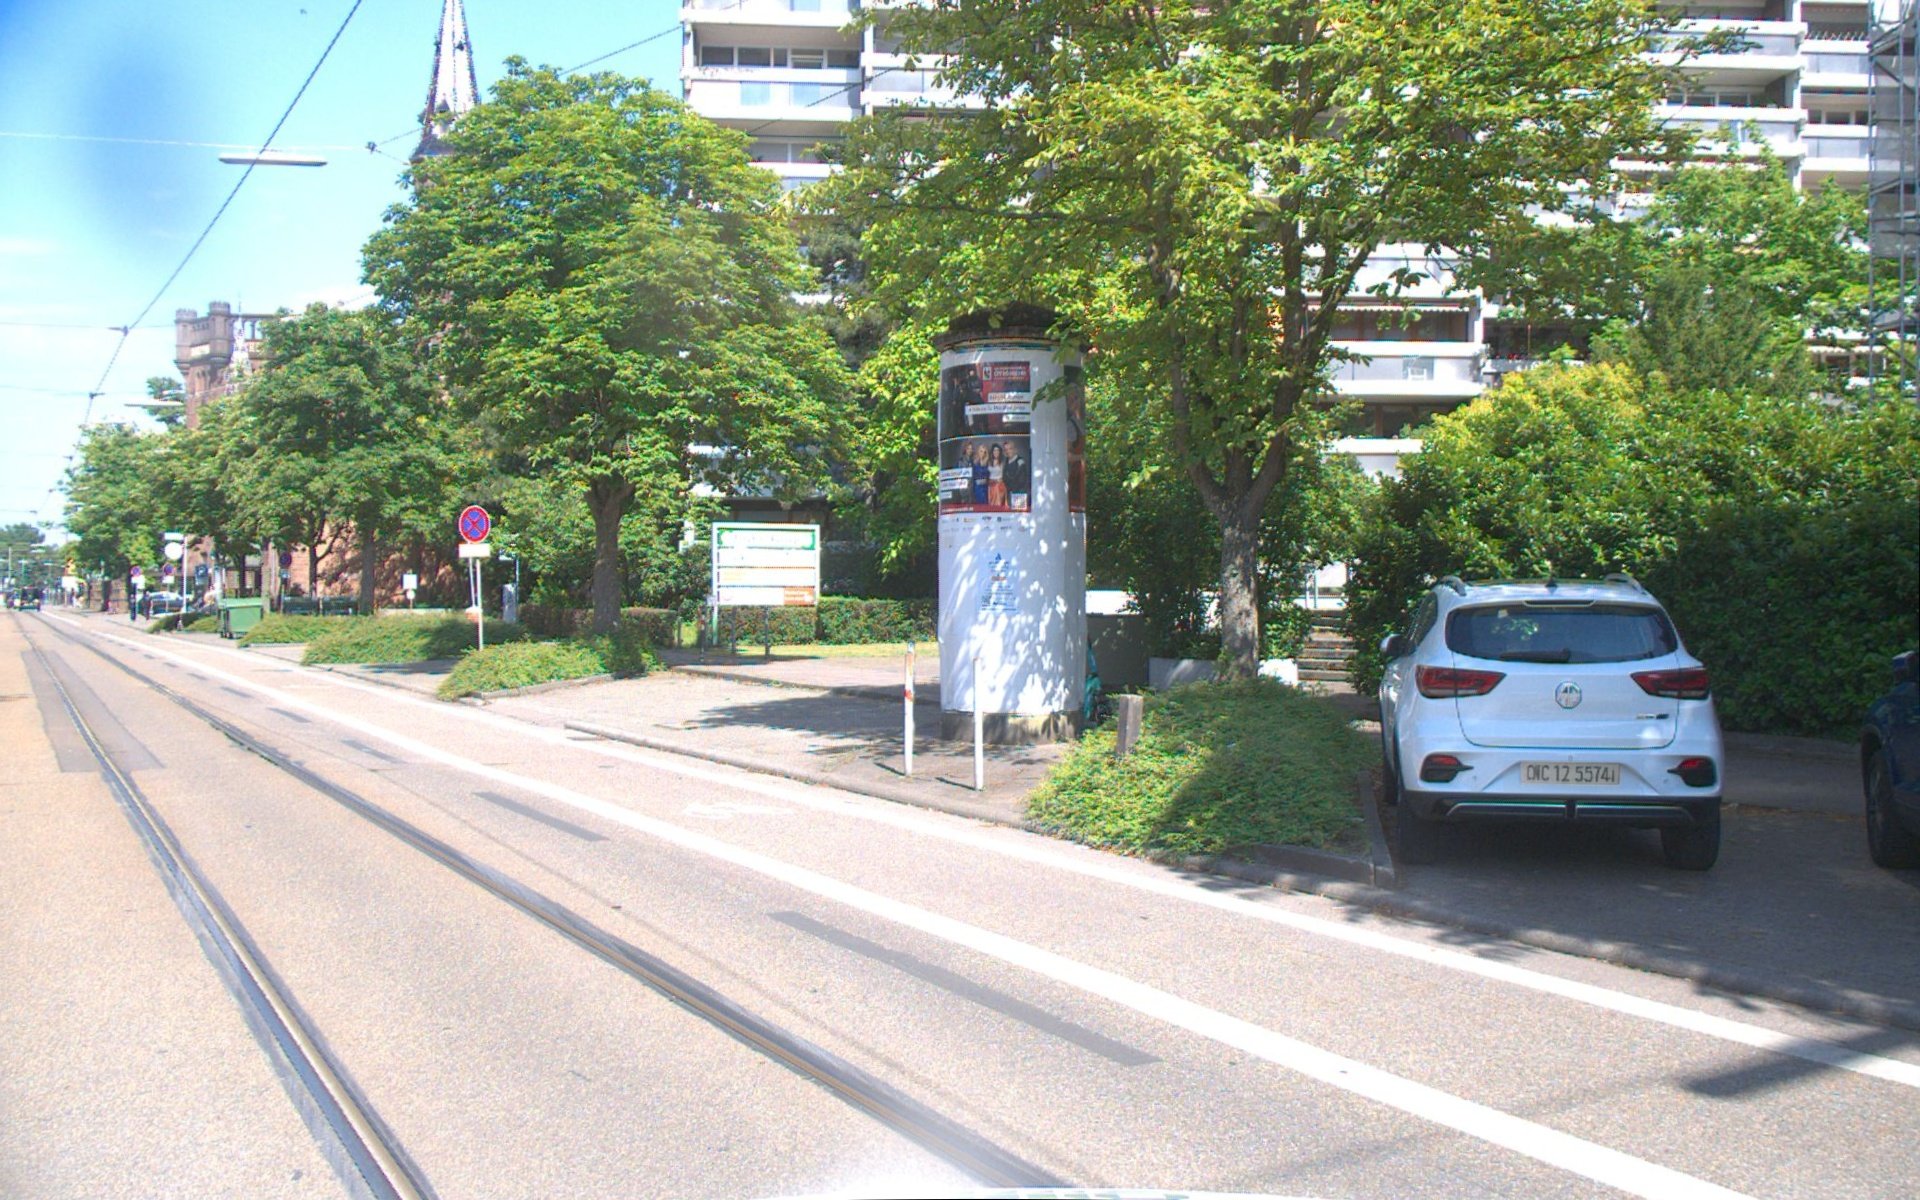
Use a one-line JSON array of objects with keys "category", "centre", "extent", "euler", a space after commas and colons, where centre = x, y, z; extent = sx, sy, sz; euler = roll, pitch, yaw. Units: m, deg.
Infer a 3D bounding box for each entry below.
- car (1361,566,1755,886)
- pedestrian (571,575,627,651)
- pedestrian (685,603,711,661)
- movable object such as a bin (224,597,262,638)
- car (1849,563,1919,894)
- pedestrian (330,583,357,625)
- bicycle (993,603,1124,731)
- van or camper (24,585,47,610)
[{"category": "car", "centre": [3.571, 0.675, 10.577], "extent": [1.775, 1.634, 3.948], "euler": [-2, 0, 12]}, {"category": "pedestrian", "centre": [-9.029, 0.325, 41.348], "extent": [1.044, 1.829, 1.253], "euler": [2, -1, -27]}, {"category": "pedestrian", "centre": [-5.353, 0.640, 33.824], "extent": [0.523, 1.174, 0.700], "euler": [0, 0, -9]}, {"category": "movable object such as a bin", "centre": [-26.304, 0.653, 60.650], "extent": [1.246, 1.479, 1.071], "euler": [1, 0, -25]}, {"category": "car", "centre": [5.535, 0.648, 7.732], "extent": [1.737, 1.650, 3.947], "euler": [-1, 1, 18]}, {"category": "pedestrian", "centre": [-27.597, 0.190, 74.051], "extent": [1.042, 1.829, 1.256], "euler": [2, -1, -22]}, {"category": "bicycle", "centre": [1.058, 0.702, 18.056], "extent": [0.541, 1.331, 1.600], "euler": [1, 0, -36]}, {"category": "van or camper", "centre": [-101.778, -0.286, 181.995], "extent": [2.024, 2.665, 5.798], "euler": [0, 0, -31]}]
